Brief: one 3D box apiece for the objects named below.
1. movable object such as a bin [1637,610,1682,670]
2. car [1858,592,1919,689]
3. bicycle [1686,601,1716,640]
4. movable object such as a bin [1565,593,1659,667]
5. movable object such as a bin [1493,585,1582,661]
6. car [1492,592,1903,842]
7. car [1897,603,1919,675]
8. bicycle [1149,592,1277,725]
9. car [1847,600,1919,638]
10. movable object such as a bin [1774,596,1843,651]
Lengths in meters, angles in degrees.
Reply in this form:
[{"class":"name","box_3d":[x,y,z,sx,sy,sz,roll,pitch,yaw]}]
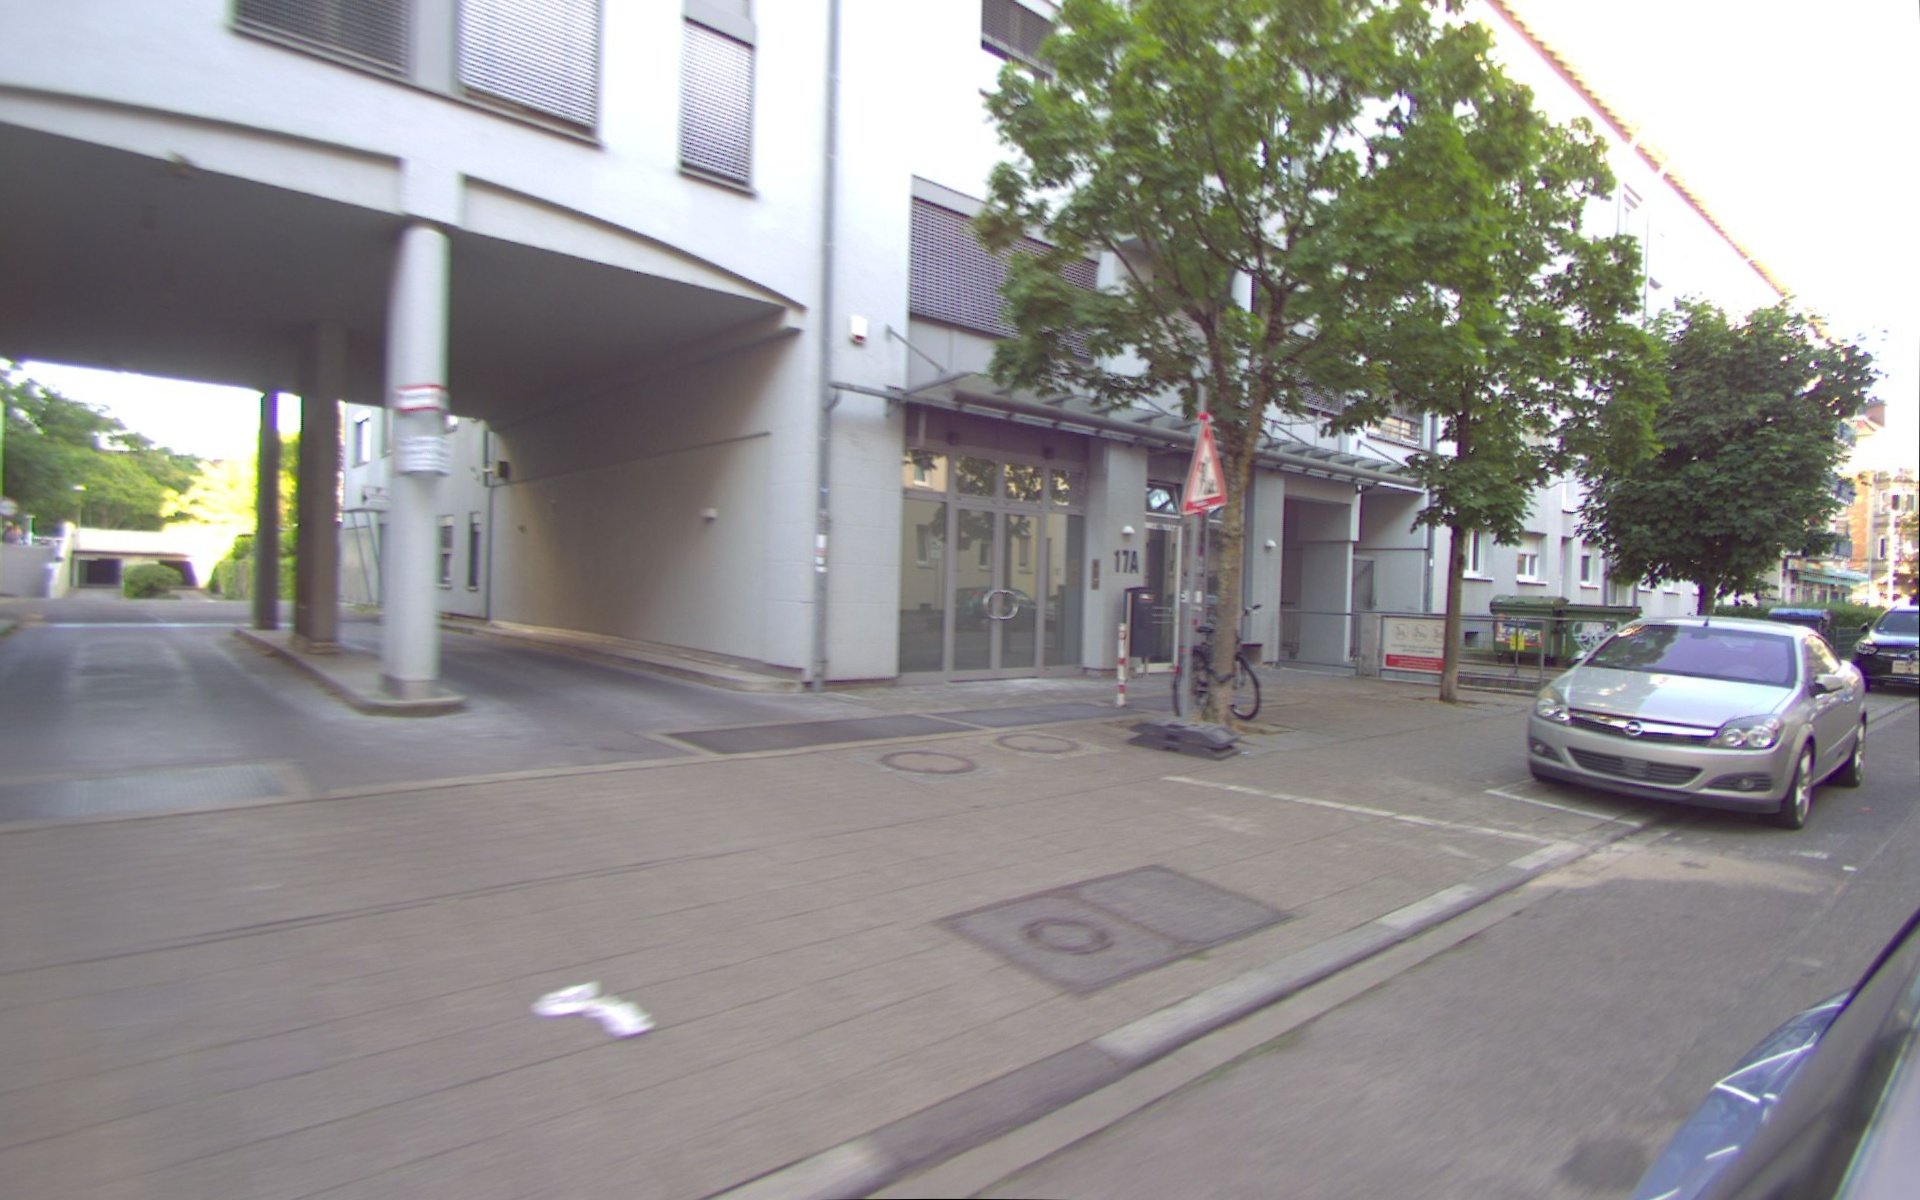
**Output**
[{"class":"movable object such as a bin","box_3d":[13.333,0.755,19.295,0.614,1.084,0.529,1,2,-41]},{"class":"car","box_3d":[18.601,0.748,19.154,4.642,1.655,1.874,1,3,-43]},{"class":"bicycle","box_3d":[22.500,0.597,30.713,0.599,1.104,1.716,4,3,38]},{"class":"movable object such as a bin","box_3d":[13.004,0.576,20.206,1.119,1.337,1.264,1,2,-41]},{"class":"movable object such as a bin","box_3d":[12.021,0.454,21.075,1.119,1.454,1.264,1,2,-41]},{"class":"car","box_3d":[6.207,0.734,8.322,4.268,1.446,1.767,1,3,-41]},{"class":"car","box_3d":[22.139,0.884,22.354,3.588,1.501,1.680,1,3,-41]},{"class":"bicycle","box_3d":[2.534,0.525,10.019,0.519,1.182,1.716,4,3,38]},{"class":"car","box_3d":[44.714,0.925,47.817,1.966,1.584,3.994,1,3,-42]},{"class":"movable object such as a bin","box_3d":[24.231,0.665,28.899,1.202,1.454,1.287,1,2,-41]}]
